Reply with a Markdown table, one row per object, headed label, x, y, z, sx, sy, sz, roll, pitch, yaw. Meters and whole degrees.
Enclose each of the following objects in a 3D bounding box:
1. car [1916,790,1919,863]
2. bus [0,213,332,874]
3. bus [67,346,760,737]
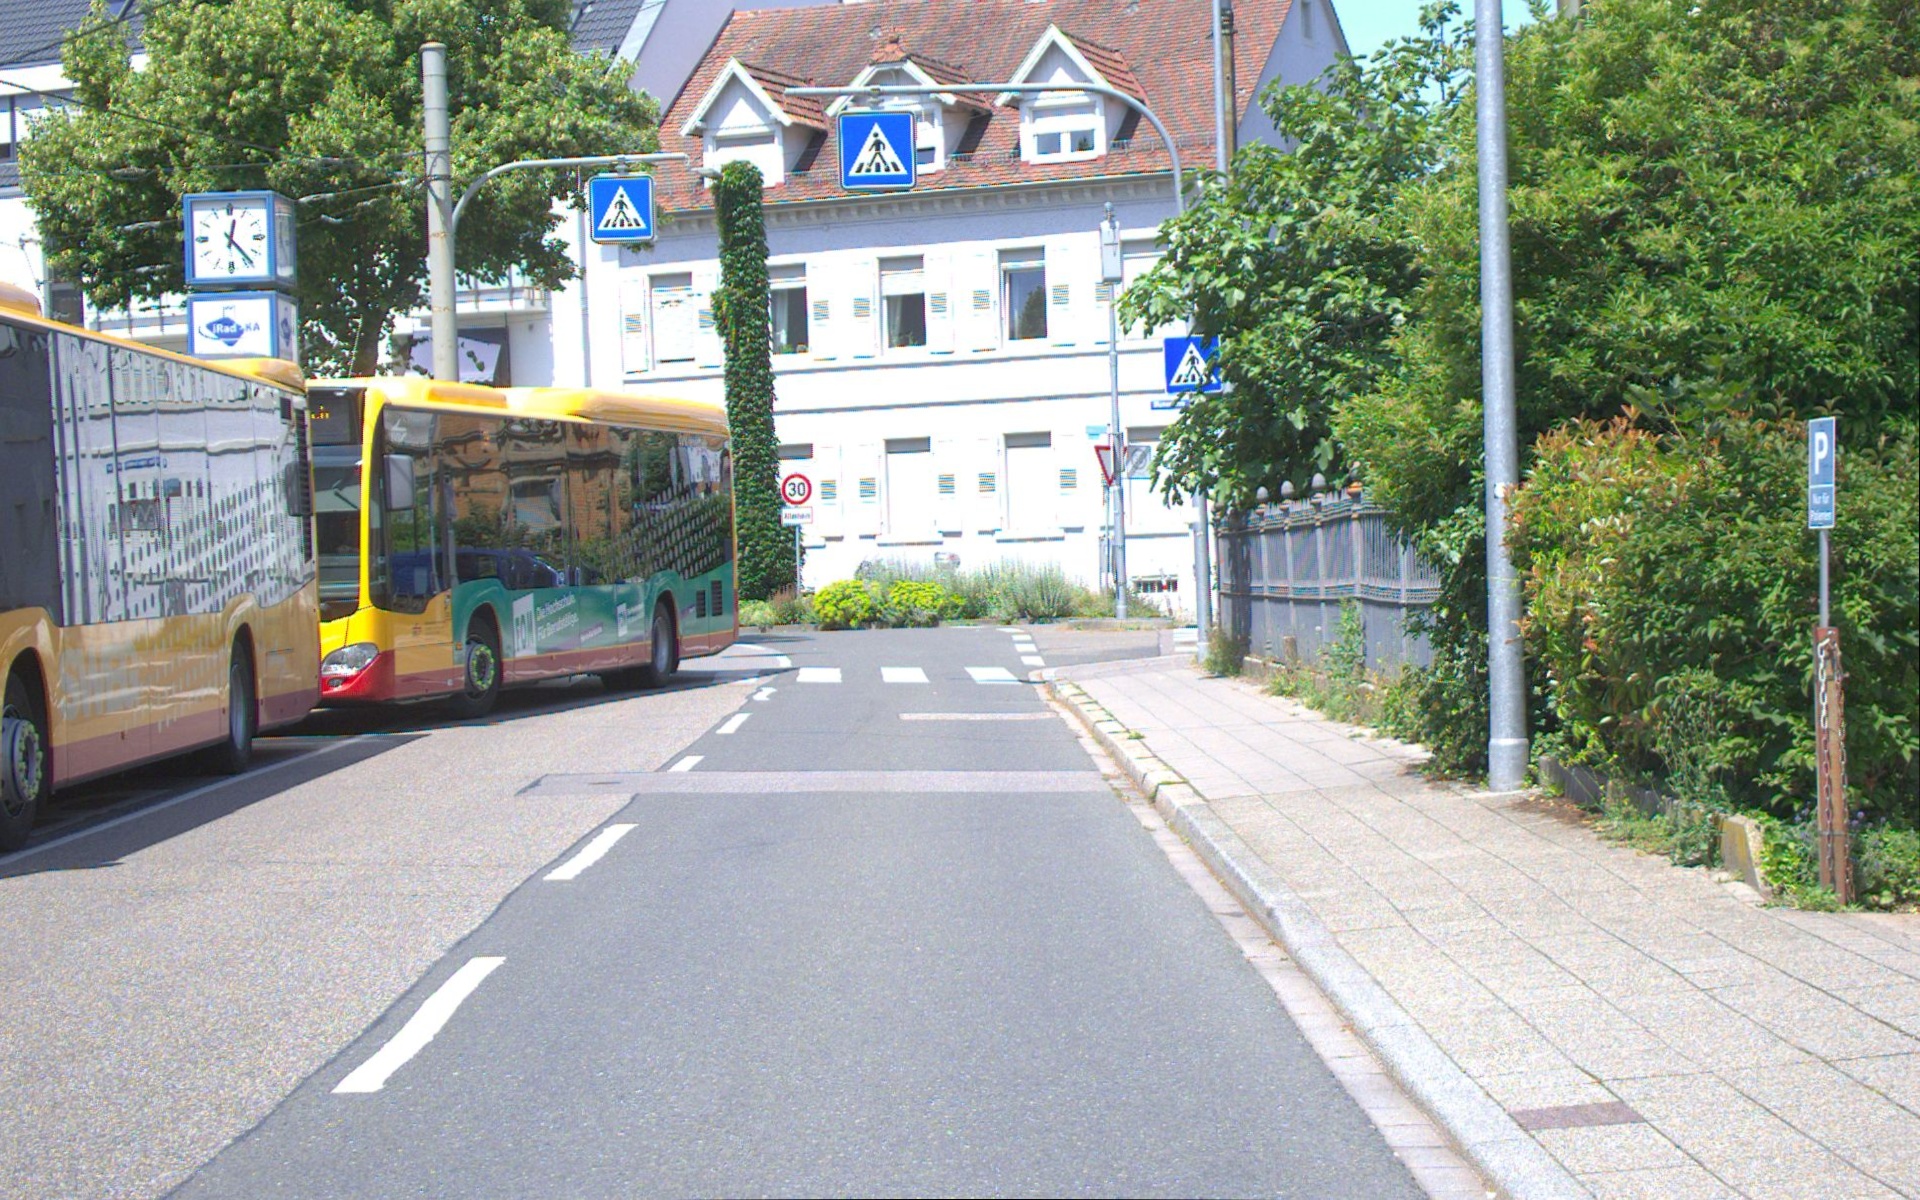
| label | x | y | z | sx | sy | sz | roll | pitch | yaw |
| --- | --- | --- | --- | --- | --- | --- | --- | --- | --- |
| car | 5.491 | 0.472 | 14.322 | 1.760 | 1.622 | 4.000 | 4 | -1 | -1 |
| bus | -6.227 | -0.304 | 20.638 | 2.907 | 3.237 | 12.119 | 0 | 0 | -1 |
| bus | -4.886 | -0.652 | 34.436 | 2.781 | 3.197 | 12.301 | 0 | 2 | 11 |
